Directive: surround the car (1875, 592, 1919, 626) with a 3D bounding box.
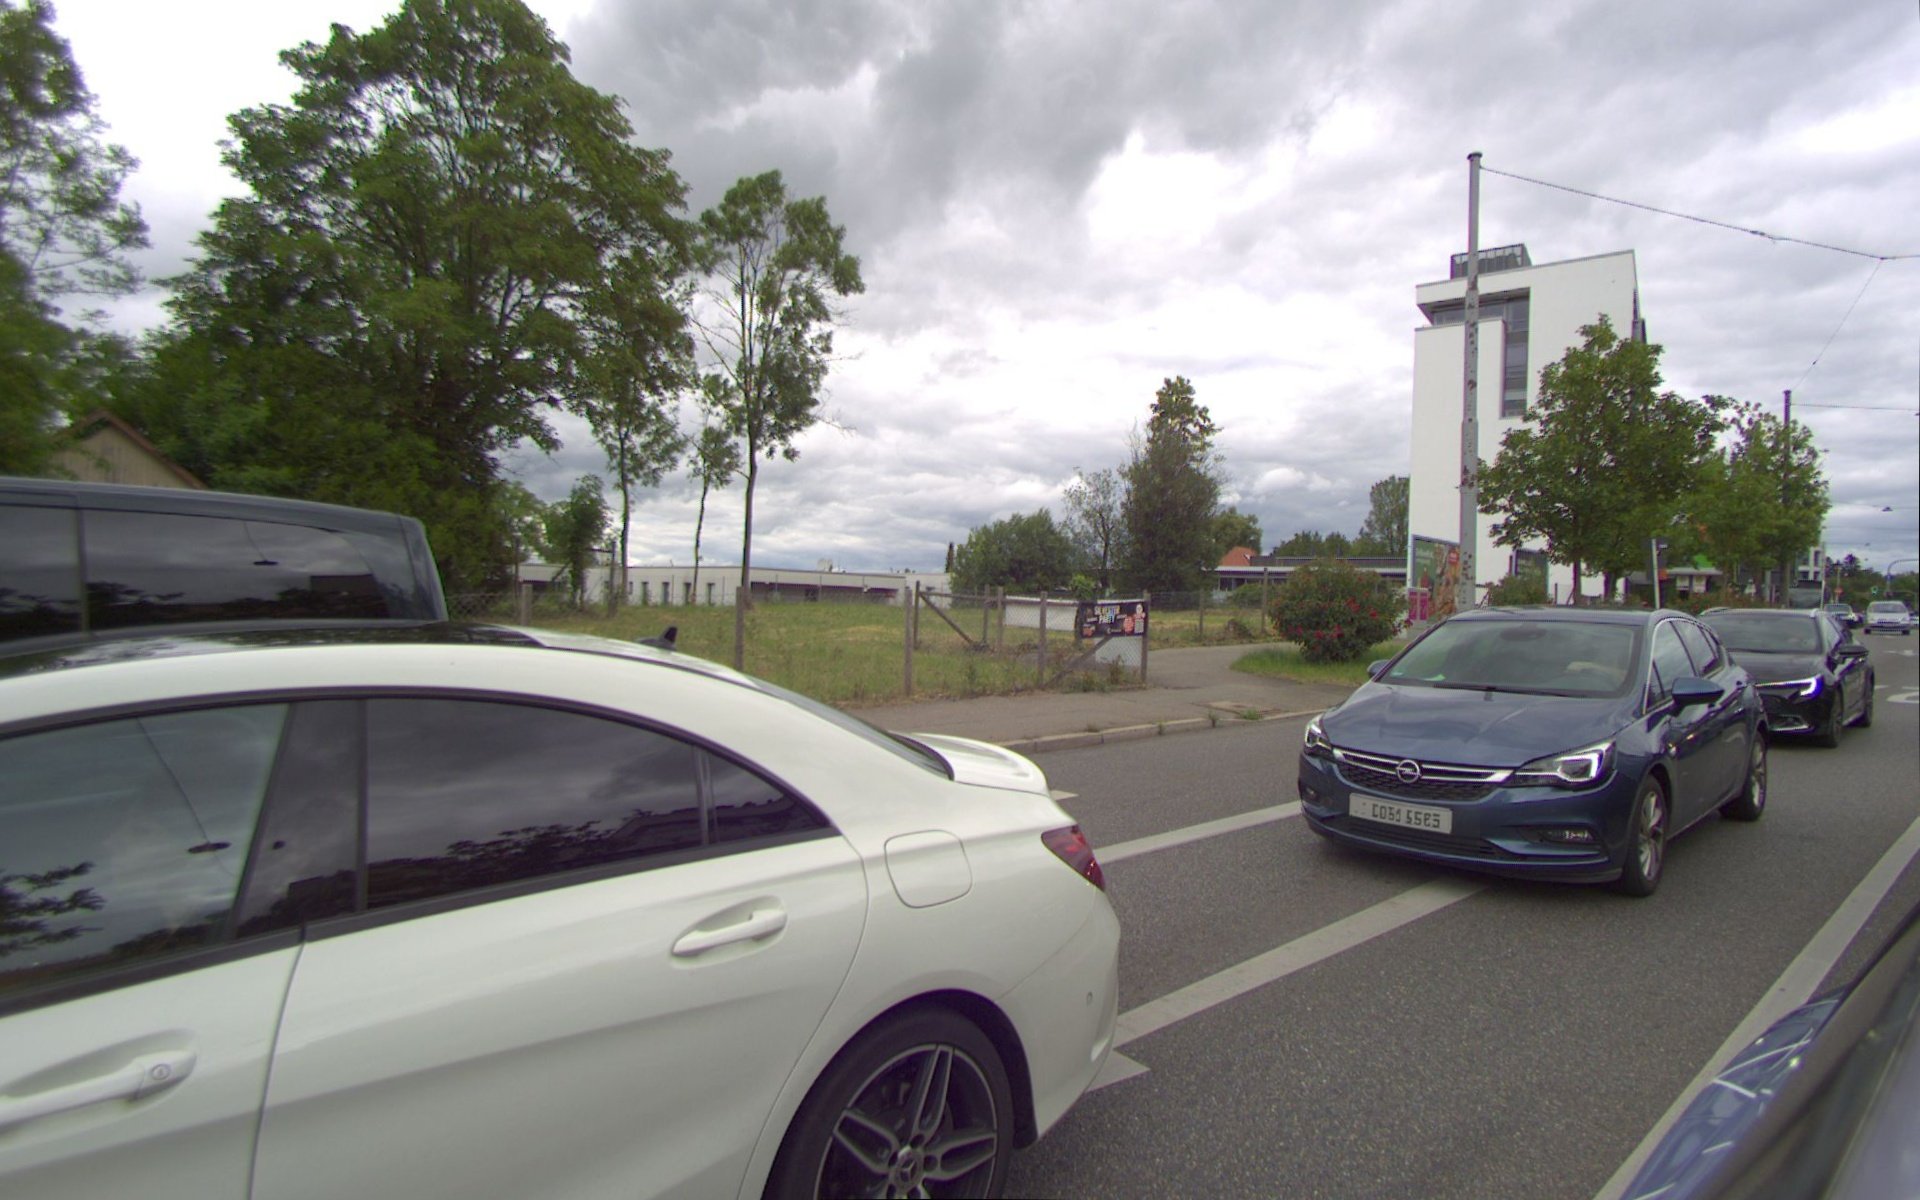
[{"bbox_3d":[46.441,0.439,49.976,1.845,1.637,3.725,-1,-1,42],"label":"car"}]

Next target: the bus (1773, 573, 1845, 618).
[{"bbox_3d":[53.955,-0.320,64.566,2.952,2.664,11.986,0,1,37],"label":"bus"}]

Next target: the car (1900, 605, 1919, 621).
[{"bbox_3d":[97.355,1.372,101.653,1.812,1.573,4.008,1,1,-12],"label":"car"}]

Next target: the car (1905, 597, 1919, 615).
[{"bbox_3d":[104.685,0.683,110.444,1.990,1.844,3.944,2,2,39],"label":"car"}]

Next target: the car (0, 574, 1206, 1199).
[{"bbox_3d":[-1.540,0.689,1.810,4.300,1.451,1.652,0,1,-41],"label":"car"}]

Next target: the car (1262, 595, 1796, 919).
[{"bbox_3d":[3.808,0.685,6.476,3.931,1.428,1.825,0,0,-42],"label":"car"}]

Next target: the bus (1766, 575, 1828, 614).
[{"bbox_3d":[61.423,-0.455,74.465,2.952,2.664,12.751,0,1,37],"label":"bus"}]

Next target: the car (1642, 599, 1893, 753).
[{"bbox_3d":[9.384,0.728,11.654,3.854,1.475,1.663,0,0,-42],"label":"car"}]

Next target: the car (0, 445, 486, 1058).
[{"bbox_3d":[-4.245,0.467,3.221,4.627,1.863,1.952,0,-1,-41],"label":"car"}]

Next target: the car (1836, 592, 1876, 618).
[{"bbox_3d":[67.099,0.345,75.829,1.841,1.910,4.082,-1,-1,36],"label":"car"}]
